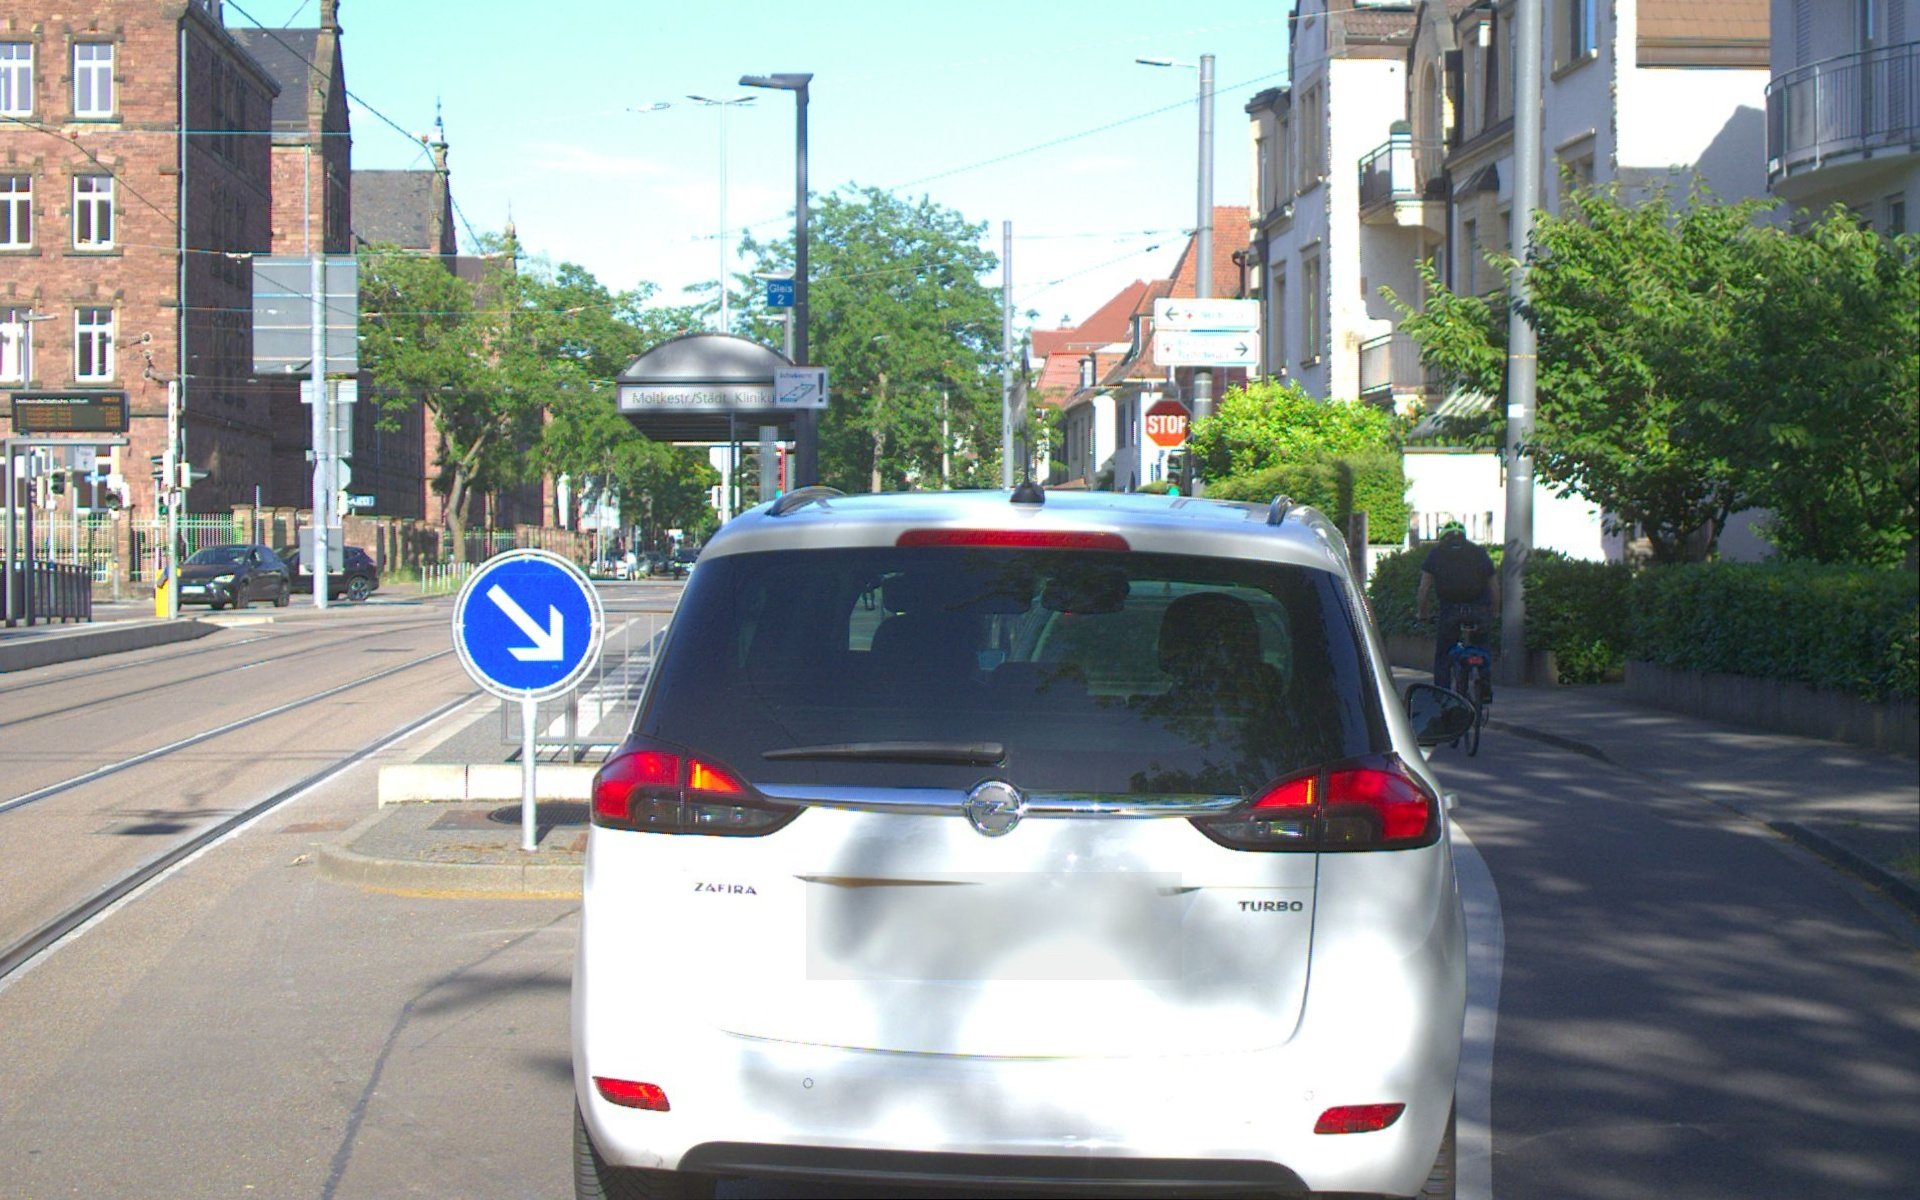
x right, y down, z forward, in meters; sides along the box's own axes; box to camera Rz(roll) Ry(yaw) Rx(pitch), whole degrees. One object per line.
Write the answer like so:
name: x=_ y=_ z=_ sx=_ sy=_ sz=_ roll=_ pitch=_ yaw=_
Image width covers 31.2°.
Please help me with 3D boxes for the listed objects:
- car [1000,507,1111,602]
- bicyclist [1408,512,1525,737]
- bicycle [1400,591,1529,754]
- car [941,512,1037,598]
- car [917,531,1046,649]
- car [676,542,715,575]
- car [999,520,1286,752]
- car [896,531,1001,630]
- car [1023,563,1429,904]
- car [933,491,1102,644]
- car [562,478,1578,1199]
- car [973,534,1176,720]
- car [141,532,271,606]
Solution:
car: x=1.676 y=-0.805 z=61.401 sx=1.776 sy=1.626 sz=3.881 roll=1 pitch=1 yaw=-1
bicyclist: x=3.744 y=0.173 z=25.487 sx=0.685 sy=1.629 sz=1.015 roll=1 pitch=0 yaw=-1
bicycle: x=3.738 y=0.522 z=25.571 sx=0.685 sy=1.153 sz=1.619 roll=1 pitch=1 yaw=-1
car: x=0.549 y=-0.892 z=68.538 sx=1.776 sy=1.626 sz=3.881 roll=1 pitch=1 yaw=-1
car: x=0.286 y=-0.158 z=50.071 sx=1.776 sy=1.626 sz=3.881 roll=1 pitch=1 yaw=0
car: x=-13.848 y=-2.201 z=179.853 sx=1.906 sy=1.671 sz=4.358 roll=1 pitch=1 yaw=-3
car: x=1.315 y=0.236 z=26.305 sx=1.776 sy=1.626 sz=3.881 roll=1 pitch=1 yaw=-3
car: x=-0.235 y=-0.361 z=61.394 sx=1.776 sy=1.687 sz=3.881 roll=1 pitch=1 yaw=-1
car: x=1.178 y=0.551 z=16.684 sx=1.586 sy=1.415 sz=3.900 roll=0 pitch=1 yaw=-1
car: x=0.602 y=-0.369 z=39.099 sx=1.776 sy=1.626 sz=3.881 roll=1 pitch=1 yaw=-1
car: x=0.121 y=0.589 z=8.215 sx=1.834 sy=1.636 sz=3.919 roll=1 pitch=1 yaw=-2
car: x=1.032 y=0.218 z=32.447 sx=1.776 sy=1.626 sz=3.880 roll=1 pitch=1 yaw=1
car: x=-16.425 y=-0.682 z=75.047 sx=1.993 sy=1.541 sz=4.000 roll=1 pitch=1 yaw=-1
